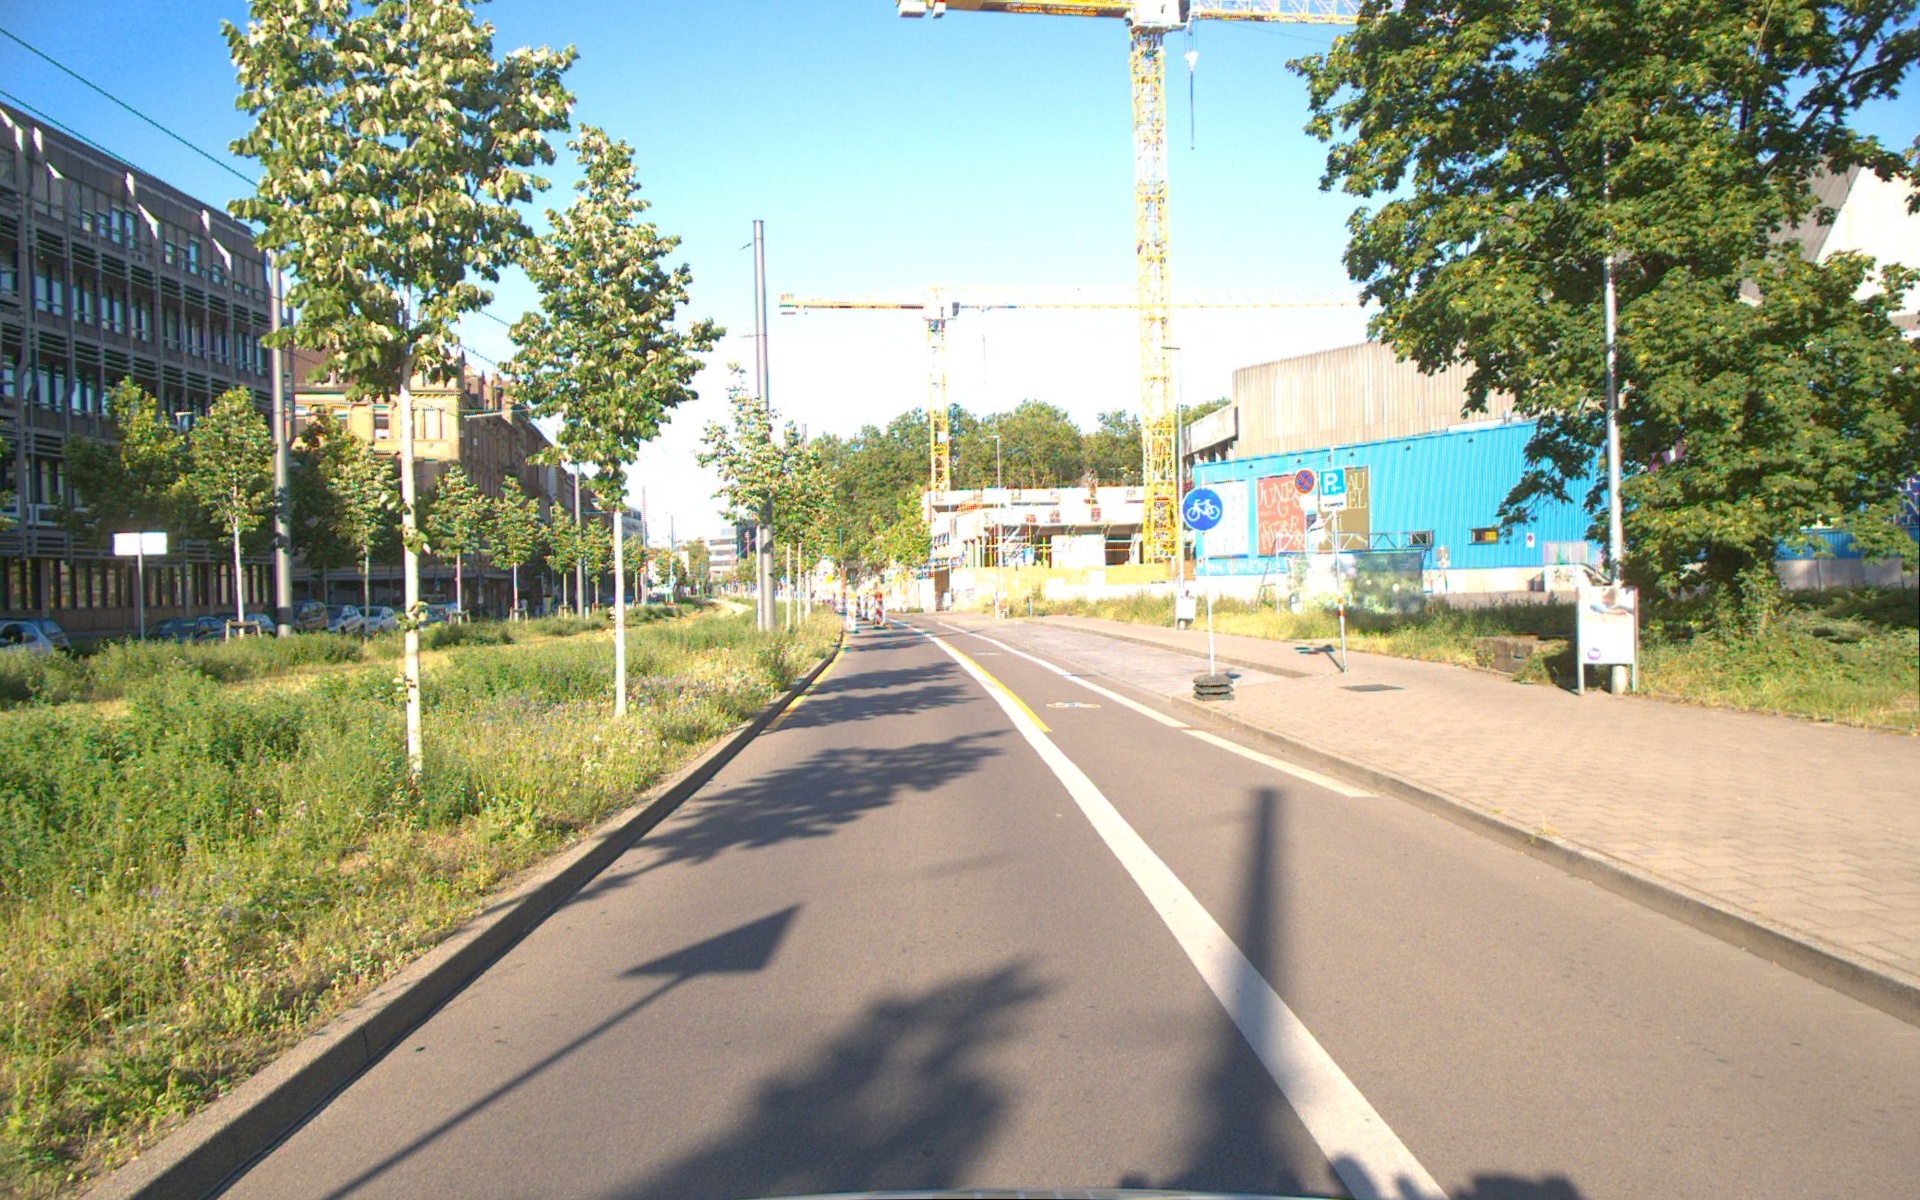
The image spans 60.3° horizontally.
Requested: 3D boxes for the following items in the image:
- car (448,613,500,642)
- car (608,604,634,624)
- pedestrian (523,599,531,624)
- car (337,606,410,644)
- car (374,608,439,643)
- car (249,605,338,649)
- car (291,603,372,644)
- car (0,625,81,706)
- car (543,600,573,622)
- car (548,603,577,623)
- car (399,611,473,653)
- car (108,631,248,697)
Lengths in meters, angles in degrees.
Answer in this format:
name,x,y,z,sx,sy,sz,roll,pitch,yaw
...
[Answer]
name,x,y,z,sx,sy,sz,roll,pitch,yaw
car,-28.666,1.604,97.663,1.865,1.603,4.299,-2,0,-2
car,-28.627,1.186,139.614,1.868,1.603,4.293,-2,0,-8
pedestrian,-33.694,0.901,128.723,0.540,1.981,0.649,-1,0,-9
car,-26.984,1.115,76.221,1.865,1.603,4.299,-2,0,-2
car,-27.423,1.251,82.046,1.865,1.603,4.299,-2,0,-2
car,-26.475,1.032,65.836,1.865,1.603,4.299,-2,0,-2
car,-26.684,0.962,70.325,1.865,1.603,4.299,-2,0,-2
car,-20.873,1.414,35.565,1.865,1.603,3.999,-2,0,-2
car,-32.015,0.859,131.661,1.868,1.603,4.293,-2,0,-8
car,-32.764,1.049,136.510,1.868,1.603,4.293,-2,0,-8
car,-22.122,1.338,69.969,1.865,1.603,4.299,-2,0,-2
car,-21.750,1.741,46.203,1.865,1.603,4.409,-2,0,-2
